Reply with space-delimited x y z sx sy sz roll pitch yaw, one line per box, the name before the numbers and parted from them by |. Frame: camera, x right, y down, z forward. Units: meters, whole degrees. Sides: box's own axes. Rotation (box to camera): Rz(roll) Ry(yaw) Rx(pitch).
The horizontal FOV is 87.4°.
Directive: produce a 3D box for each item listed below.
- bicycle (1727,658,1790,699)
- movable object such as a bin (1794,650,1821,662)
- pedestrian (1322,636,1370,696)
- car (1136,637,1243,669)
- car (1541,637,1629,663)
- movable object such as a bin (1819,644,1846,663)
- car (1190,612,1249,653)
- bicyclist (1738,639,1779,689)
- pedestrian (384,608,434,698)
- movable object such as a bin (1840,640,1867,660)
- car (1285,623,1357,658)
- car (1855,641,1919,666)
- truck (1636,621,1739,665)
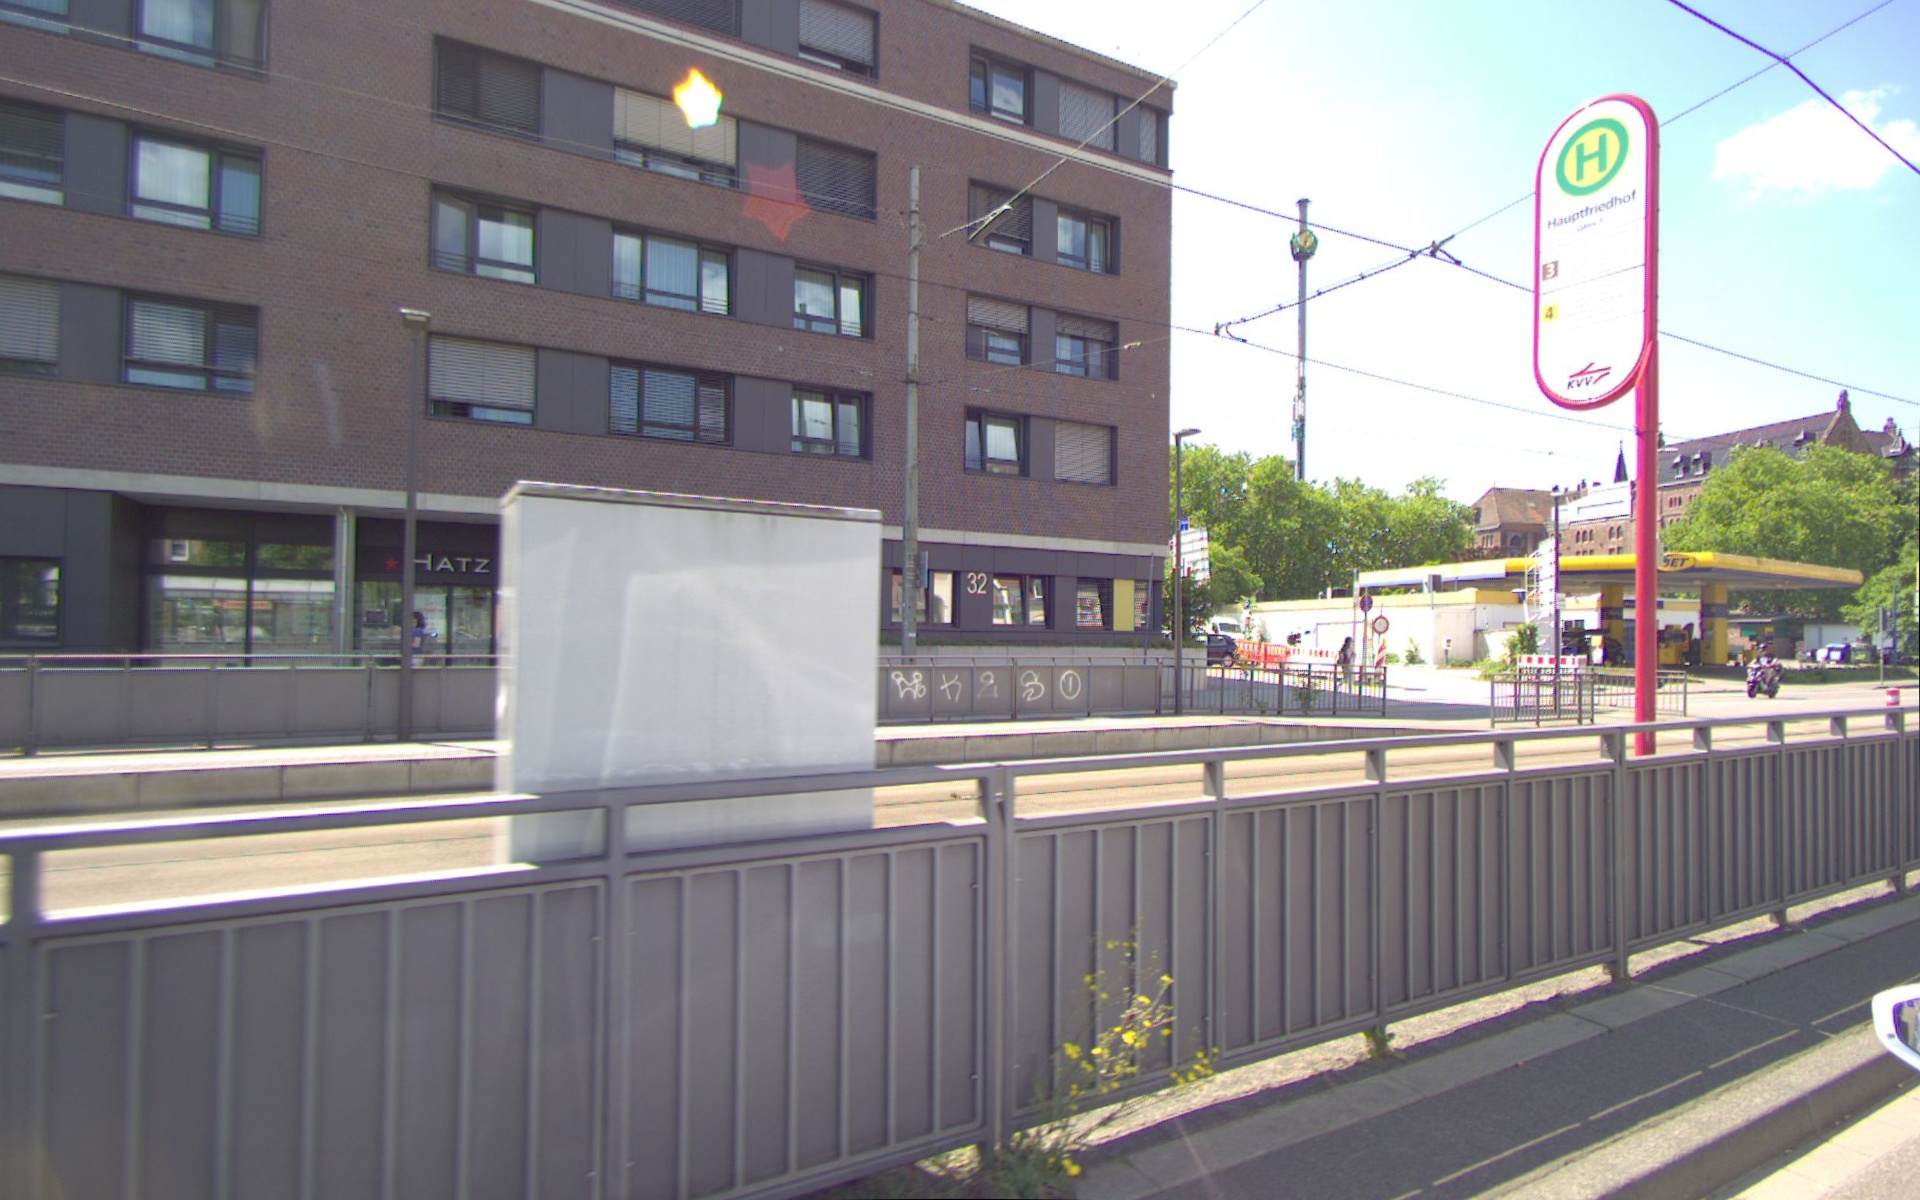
bicycle | 25.043 2.446 31.496 2.363 1.238 0.812 2 -3 -33
movable object such as a bin | 63.127 4.176 74.855 0.746 0.885 1.344 1 -2 -16
pedestrian | 10.896 1.853 28.373 0.989 1.617 0.755 2 2 -33
car | 9.559 2.204 41.905 3.933 1.176 1.822 1 0 -15
car | 37.748 3.033 60.745 4.262 1.498 1.998 1 -2 -8
movable object such as a bin | 63.380 3.874 72.976 0.748 1.372 1.341 2 -2 -24
car | 18.200 2.288 70.637 2.085 2.811 4.485 1 -2 -15
bicyclist | 25.086 2.005 31.552 1.055 1.524 0.753 2 -2 -34
pedestrian | -10.137 0.977 18.499 0.752 1.617 0.682 2 -2 -29
movable object such as a bin | 63.362 3.526 71.202 0.751 1.372 1.334 2 -2 -38
car | 21.111 2.379 58.931 1.863 1.962 4.240 1 -2 -17
car | 65.733 3.746 70.287 4.245 1.611 2.002 1 -2 8
truck | 44.921 2.660 62.048 5.105 2.531 1.999 2 -1 -6
